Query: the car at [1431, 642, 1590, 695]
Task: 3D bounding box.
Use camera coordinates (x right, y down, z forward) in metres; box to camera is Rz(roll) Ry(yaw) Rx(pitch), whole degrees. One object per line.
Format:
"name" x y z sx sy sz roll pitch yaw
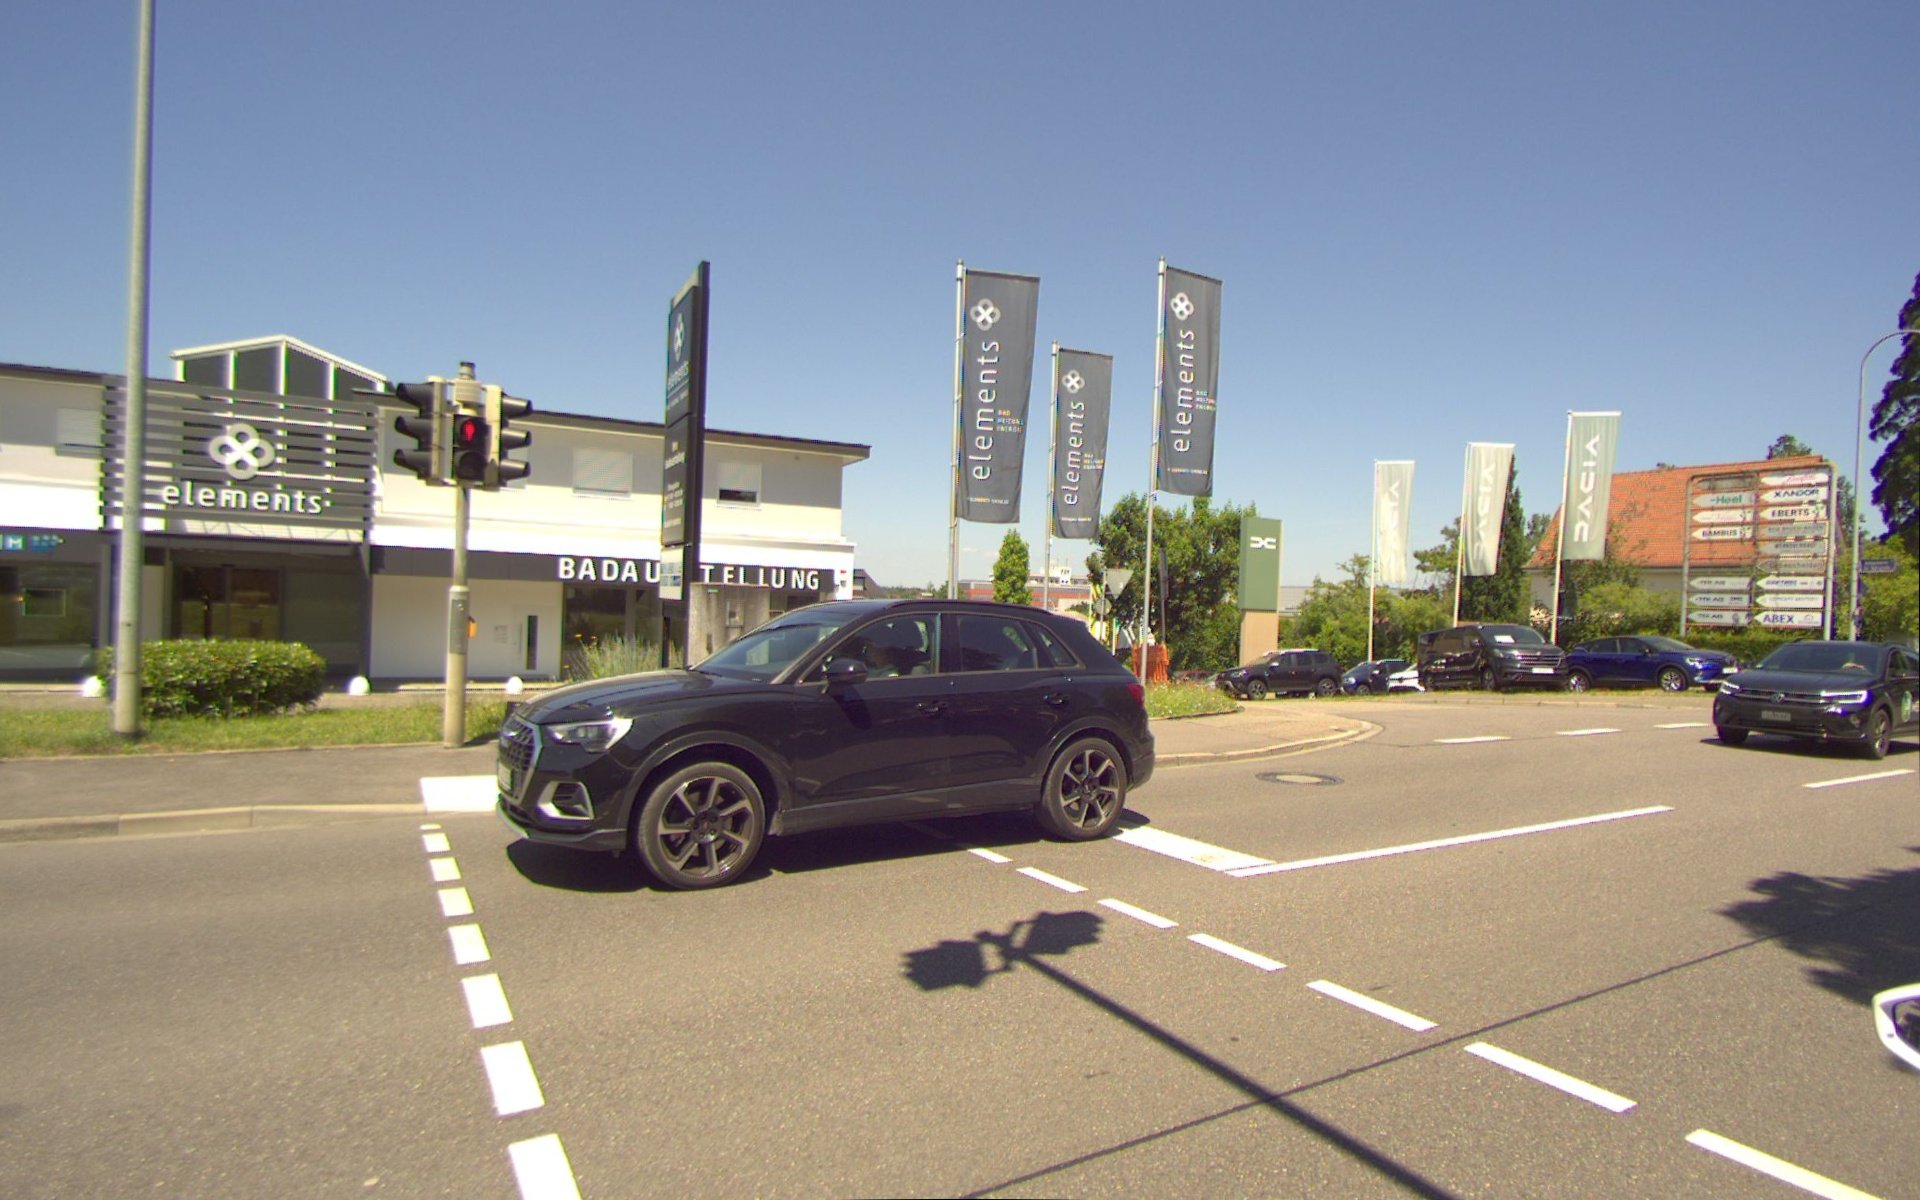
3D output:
"car" 17.331 2.134 31.780 4.012 1.411 1.679 2 0 8

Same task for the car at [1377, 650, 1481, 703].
"car" 17.448 2.795 37.320 4.052 1.744 1.795 2 0 -37

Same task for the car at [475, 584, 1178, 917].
"car" -0.766 0.784 6.741 4.257 1.576 1.915 2 -1 -33

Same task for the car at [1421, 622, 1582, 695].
"car" 14.905 1.556 27.985 2.022 1.750 4.458 -2 -1 0

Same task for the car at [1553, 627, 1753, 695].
"car" 18.288 1.573 26.754 1.750 1.524 4.130 2 0 -19

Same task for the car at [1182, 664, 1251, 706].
"car" 12.558 4.091 49.090 1.786 1.744 4.073 2 0 37

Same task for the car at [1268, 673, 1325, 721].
"car" 14.963 4.240 44.544 1.781 1.744 4.084 2 0 27

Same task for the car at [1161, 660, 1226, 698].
"car" 12.377 4.118 53.115 1.786 1.744 4.073 2 0 37

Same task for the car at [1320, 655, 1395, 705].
"car" 16.318 3.225 41.121 1.786 1.744 4.073 2 0 37

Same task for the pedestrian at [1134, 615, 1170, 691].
"pedestrian" 4.580 1.250 23.991 0.689 1.785 0.545 2 -1 -2

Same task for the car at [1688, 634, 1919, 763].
"car" 12.225 1.294 14.159 4.009 1.526 1.858 2 -1 -33

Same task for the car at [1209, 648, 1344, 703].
"car" 10.631 2.532 33.830 4.020 1.744 1.810 2 -3 -15
